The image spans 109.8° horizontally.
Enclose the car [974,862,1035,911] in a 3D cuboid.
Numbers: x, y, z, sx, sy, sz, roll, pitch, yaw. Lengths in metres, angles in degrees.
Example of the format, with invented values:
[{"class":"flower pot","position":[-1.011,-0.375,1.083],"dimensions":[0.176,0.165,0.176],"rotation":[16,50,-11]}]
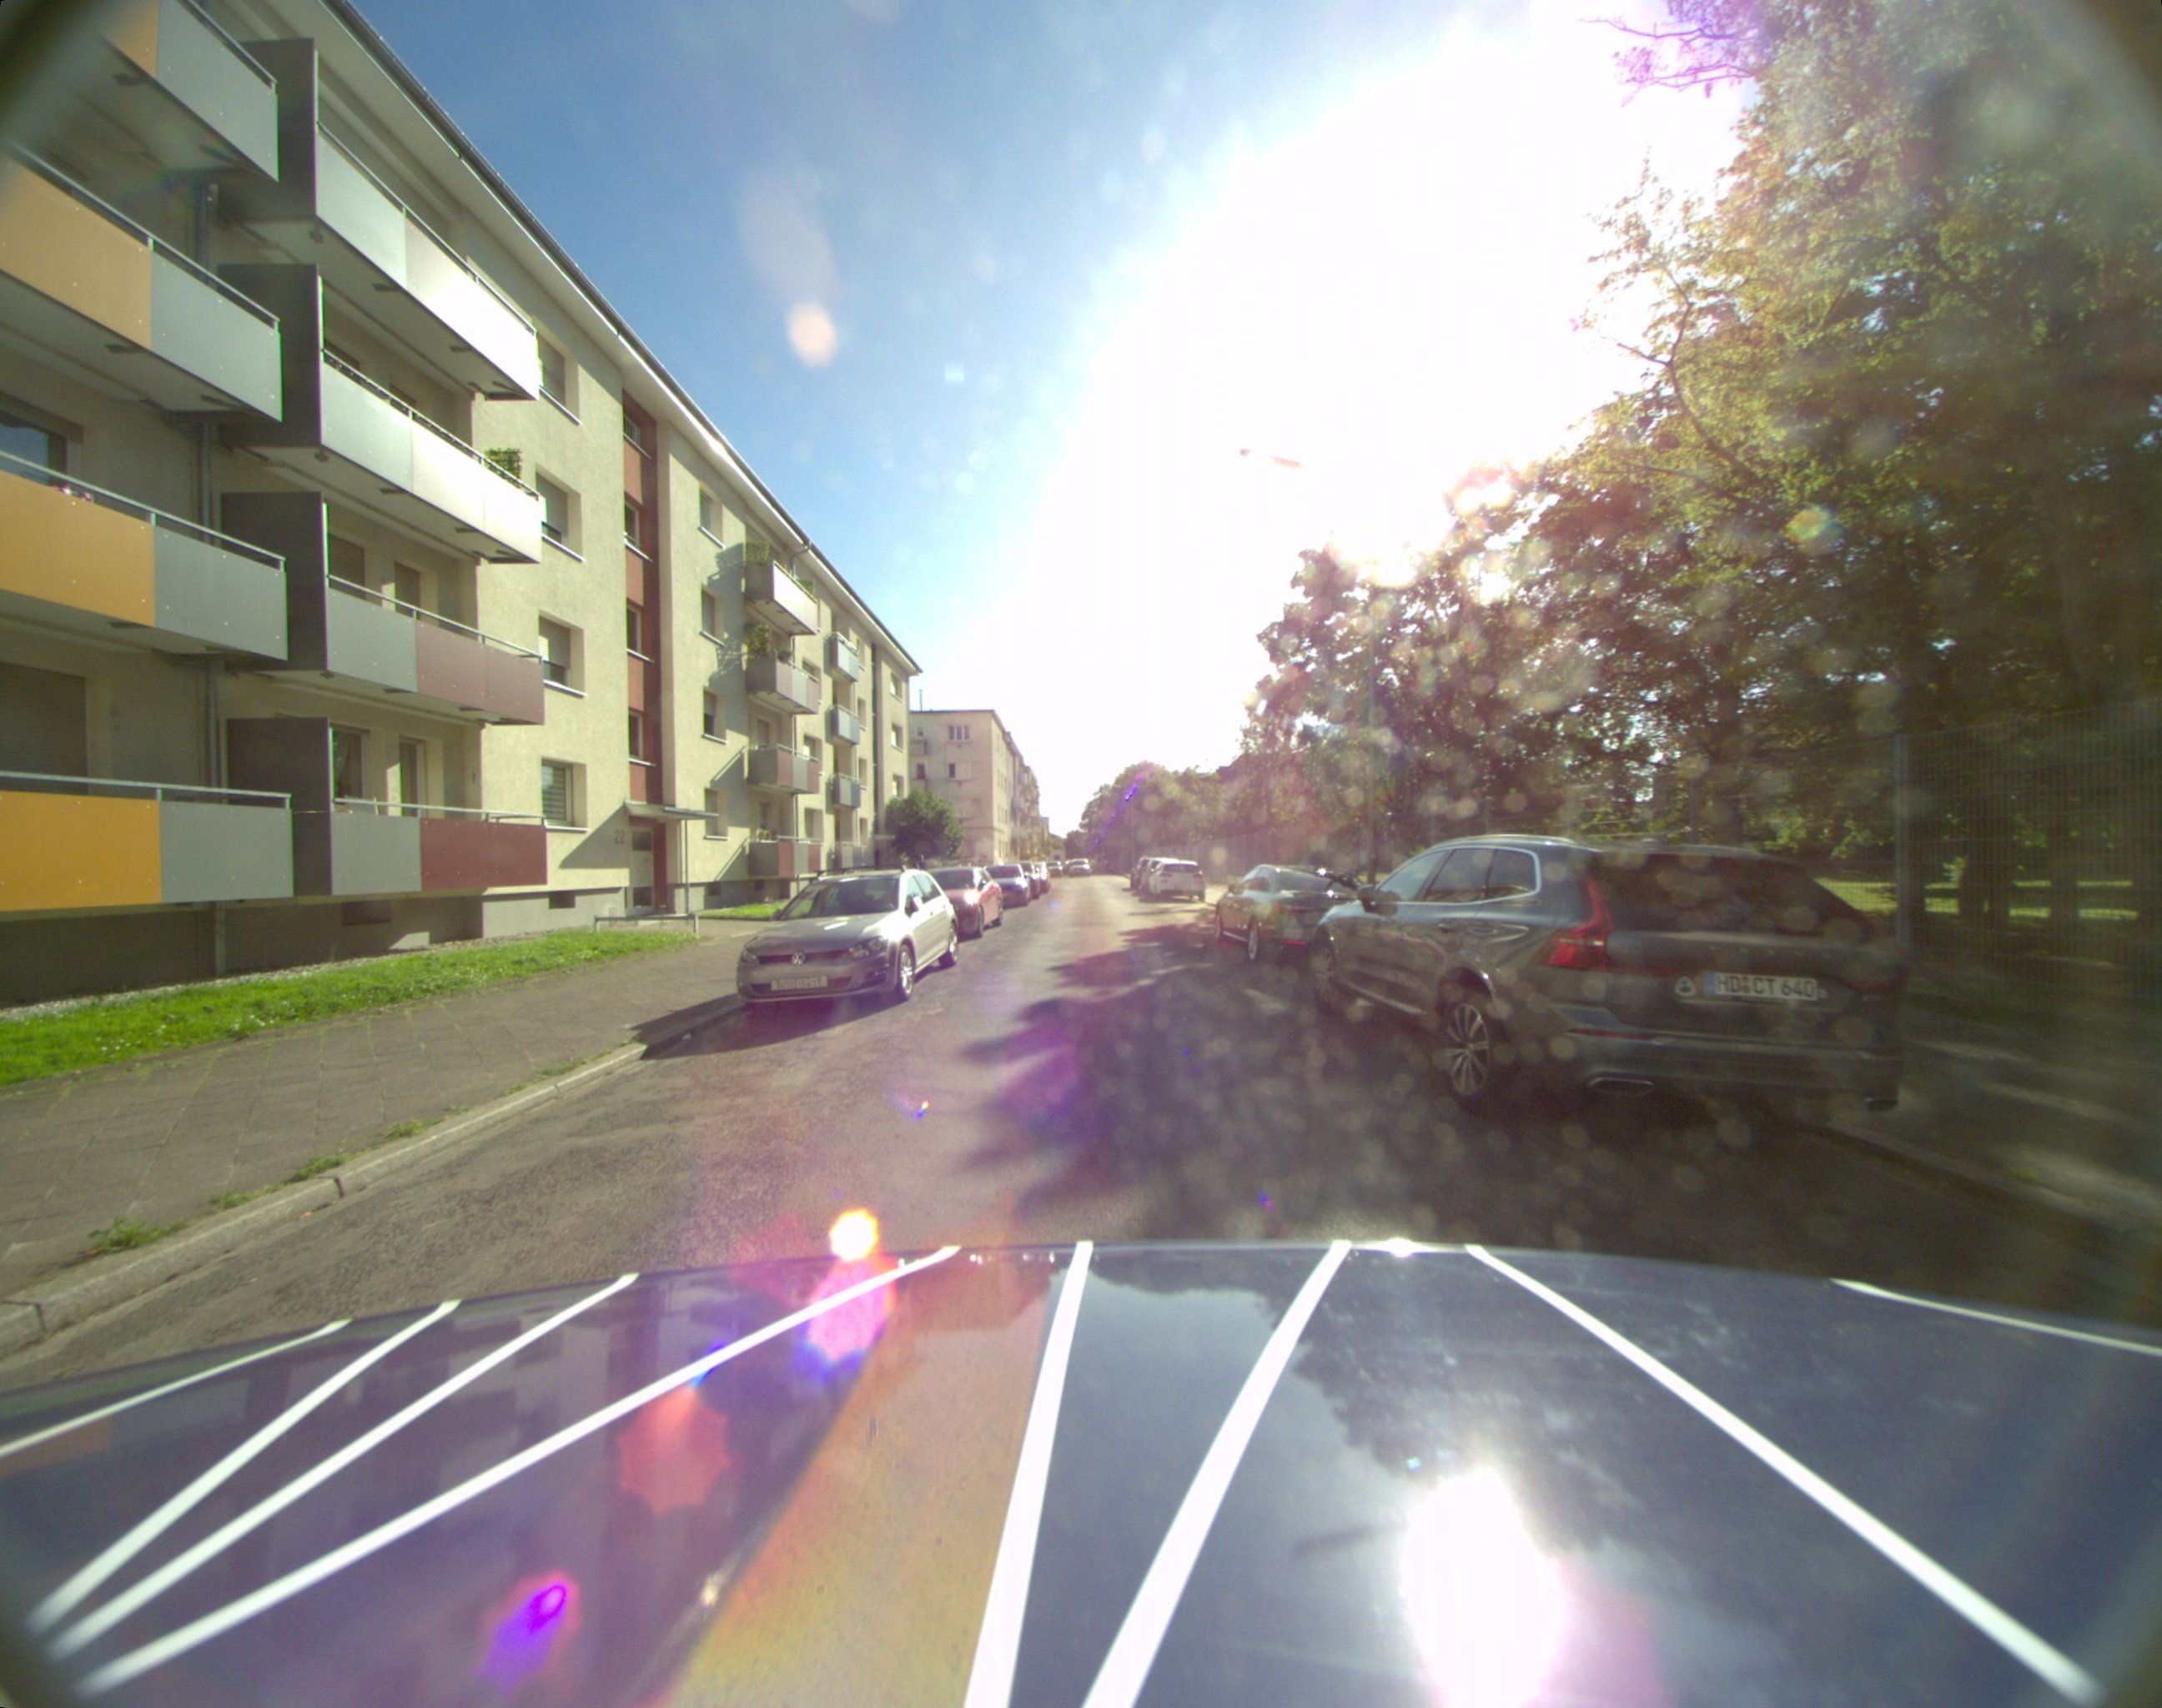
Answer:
[{"class":"car","position":[-2.561,1.042,26.135],"dimensions":[1.757,1.472,4.079],"rotation":[-2,0,-2]}]

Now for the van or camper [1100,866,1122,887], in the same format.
[{"class":"van or camper","position":[3.503,2.645,89.363],"dimensions":[2.212,2.267,5.309],"rotation":[-2,0,-2]}]

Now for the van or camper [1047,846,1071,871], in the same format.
[{"class":"van or camper","position":[-2.783,0.620,97.570],"dimensions":[2.958,3.161,6.173],"rotation":[0,-1,0]}]

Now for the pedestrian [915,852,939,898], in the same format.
[{"class":"pedestrian","position":[-6.103,0.823,30.119],"dimensions":[0.646,1.761,0.841],"rotation":[-1,0,6]}]

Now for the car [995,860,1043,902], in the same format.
[{"class":"car","position":[-2.516,1.065,31.861],"dimensions":[1.757,1.550,4.254],"rotation":[-2,0,-2]}]

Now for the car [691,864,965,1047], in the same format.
[{"class":"car","position":[-2.799,1.007,9.661],"dimensions":[1.903,1.612,4.602],"rotation":[-3,0,-1]}]

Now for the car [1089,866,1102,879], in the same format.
[{"class":"car","position":[2.111,2.598,108.489],"dimensions":[1.652,1.674,3.999],"rotation":[-1,0,-2]}]

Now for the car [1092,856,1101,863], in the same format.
[{"class":"car","position":[3.224,1.097,158.356],"dimensions":[1.652,1.451,3.999],"rotation":[-1,0,-2]}]

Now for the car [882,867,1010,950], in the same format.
[{"class":"car","position":[-2.725,1.052,16.350],"dimensions":[1.756,1.435,4.523],"rotation":[-1,0,2]}]

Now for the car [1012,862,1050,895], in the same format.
[{"class":"car","position":[-2.376,1.152,37.077],"dimensions":[1.609,1.475,3.797],"rotation":[-1,0,-1]}]

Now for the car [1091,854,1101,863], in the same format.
[{"class":"car","position":[3.292,1.092,169.979],"dimensions":[1.999,2.002,4.000],"rotation":[-1,0,0]}]

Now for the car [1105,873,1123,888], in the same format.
[{"class":"car","position":[3.572,2.896,83.467],"dimensions":[1.652,1.408,3.999],"rotation":[-2,0,-2]}]

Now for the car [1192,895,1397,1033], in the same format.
[{"class":"car","position":[2.968,1.483,11.649],"dimensions":[1.799,1.462,4.501],"rotation":[1,0,-1]}]

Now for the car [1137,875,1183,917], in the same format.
[{"class":"car","position":[3.511,1.835,34.251],"dimensions":[1.568,1.633,3.615],"rotation":[3,0,-1]}]

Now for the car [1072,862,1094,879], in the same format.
[{"class":"car","position":[0.140,1.541,70.161],"dimensions":[1.862,1.542,4.000],"rotation":[0,-1,-2]}]

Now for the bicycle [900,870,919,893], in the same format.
[{"class":"bicycle","position":[-7.994,1.245,35.456],"dimensions":[0.486,1.006,2.283],"rotation":[0,0,-3]}]

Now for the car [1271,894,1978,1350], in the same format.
[{"class":"car","position":[2.989,1.302,5.800],"dimensions":[1.883,1.654,4.932],"rotation":[3,0,2]}]

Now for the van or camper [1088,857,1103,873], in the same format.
[{"class":"van or camper","position":[2.295,1.743,119.988],"dimensions":[2.126,2.484,3.999],"rotation":[-1,0,-2]}]

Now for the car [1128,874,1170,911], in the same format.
[{"class":"car","position":[3.451,1.924,39.164],"dimensions":[1.717,1.654,4.164],"rotation":[2,0,-1]}]

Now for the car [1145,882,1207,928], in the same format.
[{"class":"car","position":[3.472,1.854,28.511],"dimensions":[1.798,1.436,4.120],"rotation":[1,0,0]}]

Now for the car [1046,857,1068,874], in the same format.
[{"class":"car","position":[-2.360,1.139,74.991],"dimensions":[2.070,1.544,3.999],"rotation":[-2,0,-2]}]
